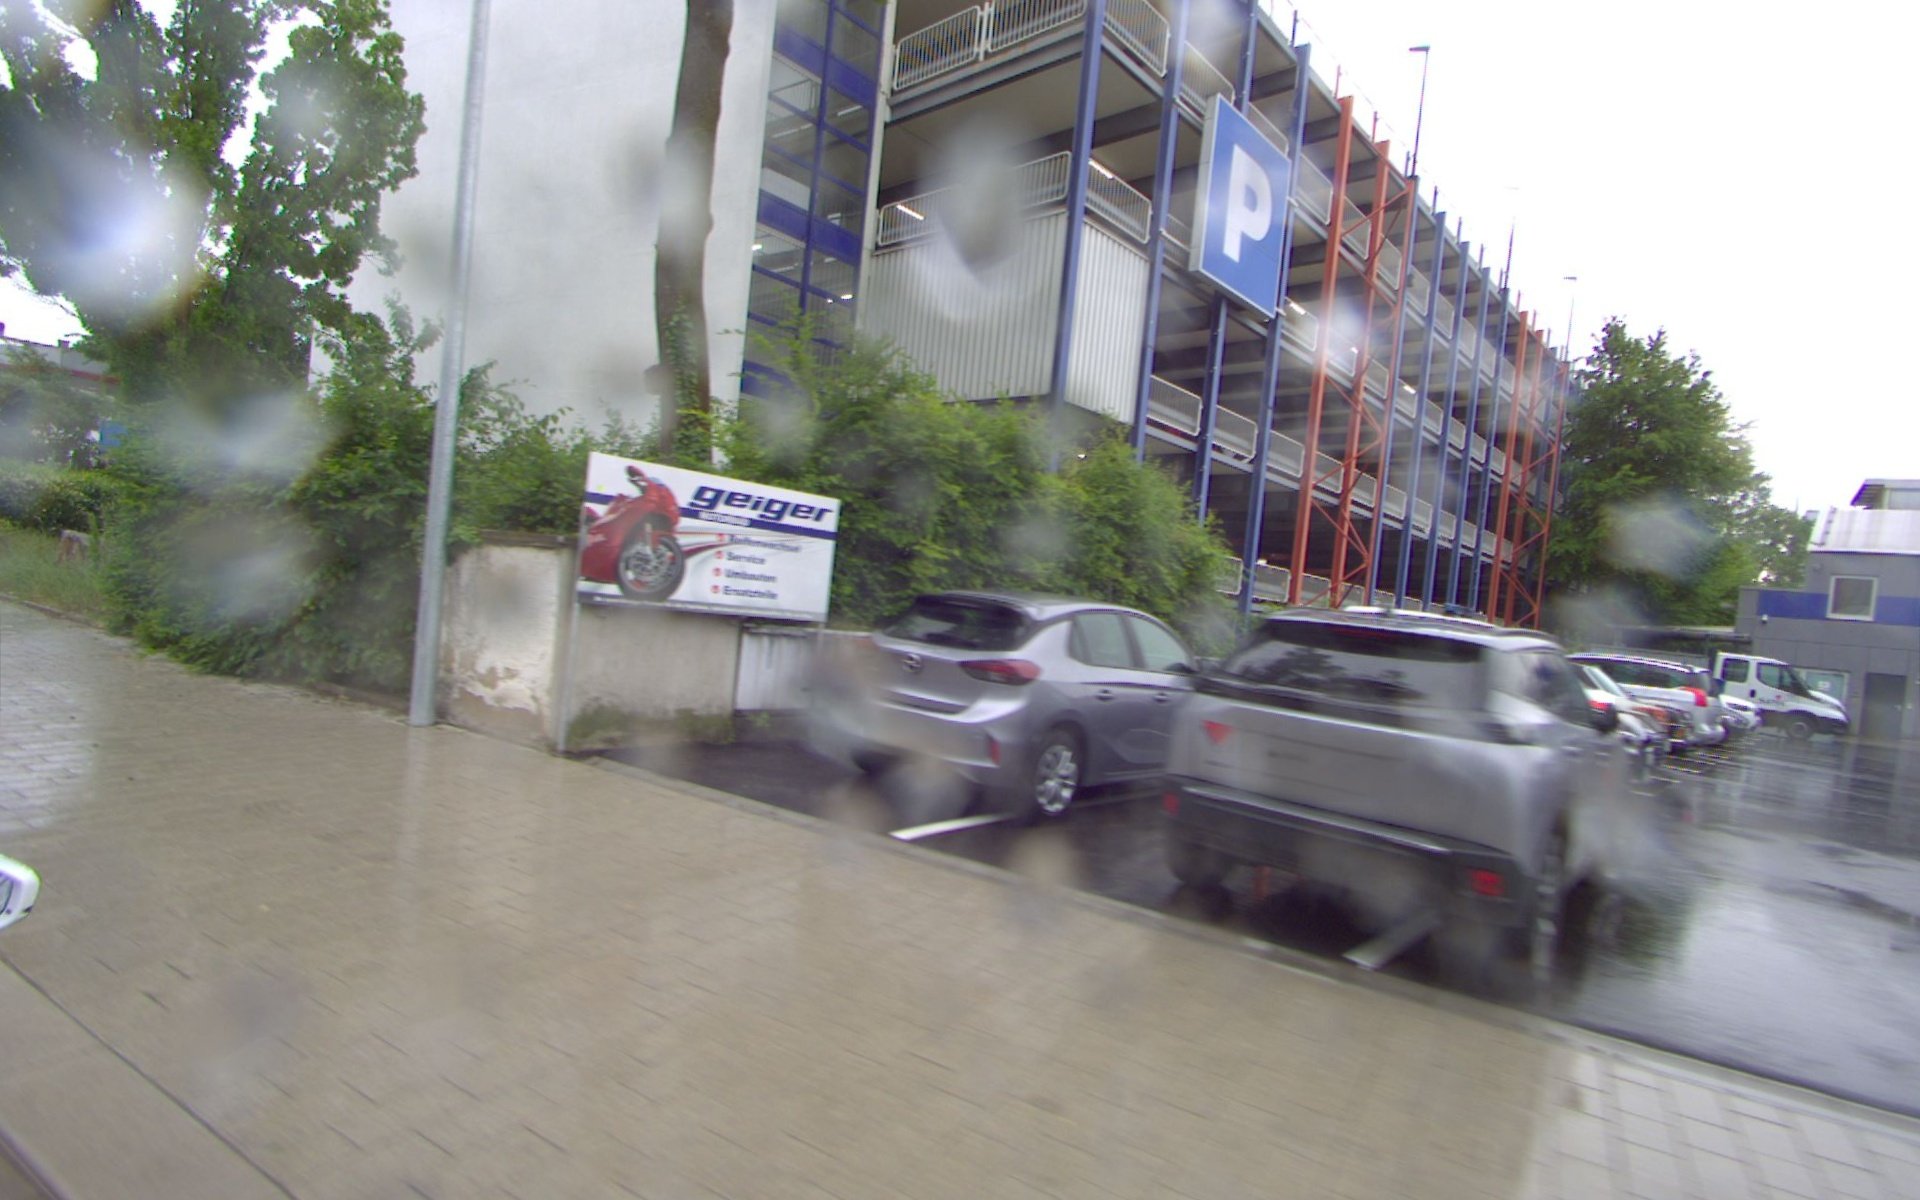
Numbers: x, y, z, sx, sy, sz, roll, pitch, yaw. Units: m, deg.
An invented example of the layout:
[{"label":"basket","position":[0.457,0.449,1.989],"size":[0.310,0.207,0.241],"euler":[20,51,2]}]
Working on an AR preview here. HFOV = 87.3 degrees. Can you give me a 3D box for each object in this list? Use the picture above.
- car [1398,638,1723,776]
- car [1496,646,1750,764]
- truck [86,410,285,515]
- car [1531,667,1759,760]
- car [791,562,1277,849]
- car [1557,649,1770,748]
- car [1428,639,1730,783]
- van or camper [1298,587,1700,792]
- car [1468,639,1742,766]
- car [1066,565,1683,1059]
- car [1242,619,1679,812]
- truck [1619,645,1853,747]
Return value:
[{"label":"car","position":[9.040,1.523,15.301],"size":[3.941,1.372,1.728],"euler":[7,2,39]},{"label":"car","position":[13.451,2.063,20.548],"size":[3.946,1.701,1.725],"euler":[7,2,44]},{"label":"truck","position":[-39.490,-6.903,51.738],"size":[2.629,3.480,7.762],"euler":[6,-4,16]},{"label":"car","position":[15.293,2.506,22.567],"size":[3.947,1.502,1.891],"euler":[4,-5,42]},{"label":"car","position":[0.745,0.686,7.621],"size":[1.780,1.514,3.615],"euler":[7,1,40]},{"label":"car","position":[16.990,2.352,24.386],"size":[3.947,1.833,1.891],"euler":[4,-5,42]},{"label":"car","position":[10.346,1.763,17.007],"size":[3.946,1.701,1.725],"euler":[7,2,44]},{"label":"van or camper","position":[7.253,1.103,13.853],"size":[4.401,2.062,1.834],"euler":[7,0,43]},{"label":"car","position":[12.065,1.838,18.978],"size":[3.946,1.701,1.725],"euler":[7,2,44]},{"label":"car","position":[2.691,0.846,5.857],"size":[1.972,1.671,4.198],"euler":[7,2,41]},{"label":"car","position":[5.731,1.215,11.780],"size":[4.146,1.460,1.930],"euler":[7,0,40]},{"label":"truck","position":[22.879,2.800,29.851],"size":[5.234,2.293,1.993],"euler":[4,-5,41]}]
